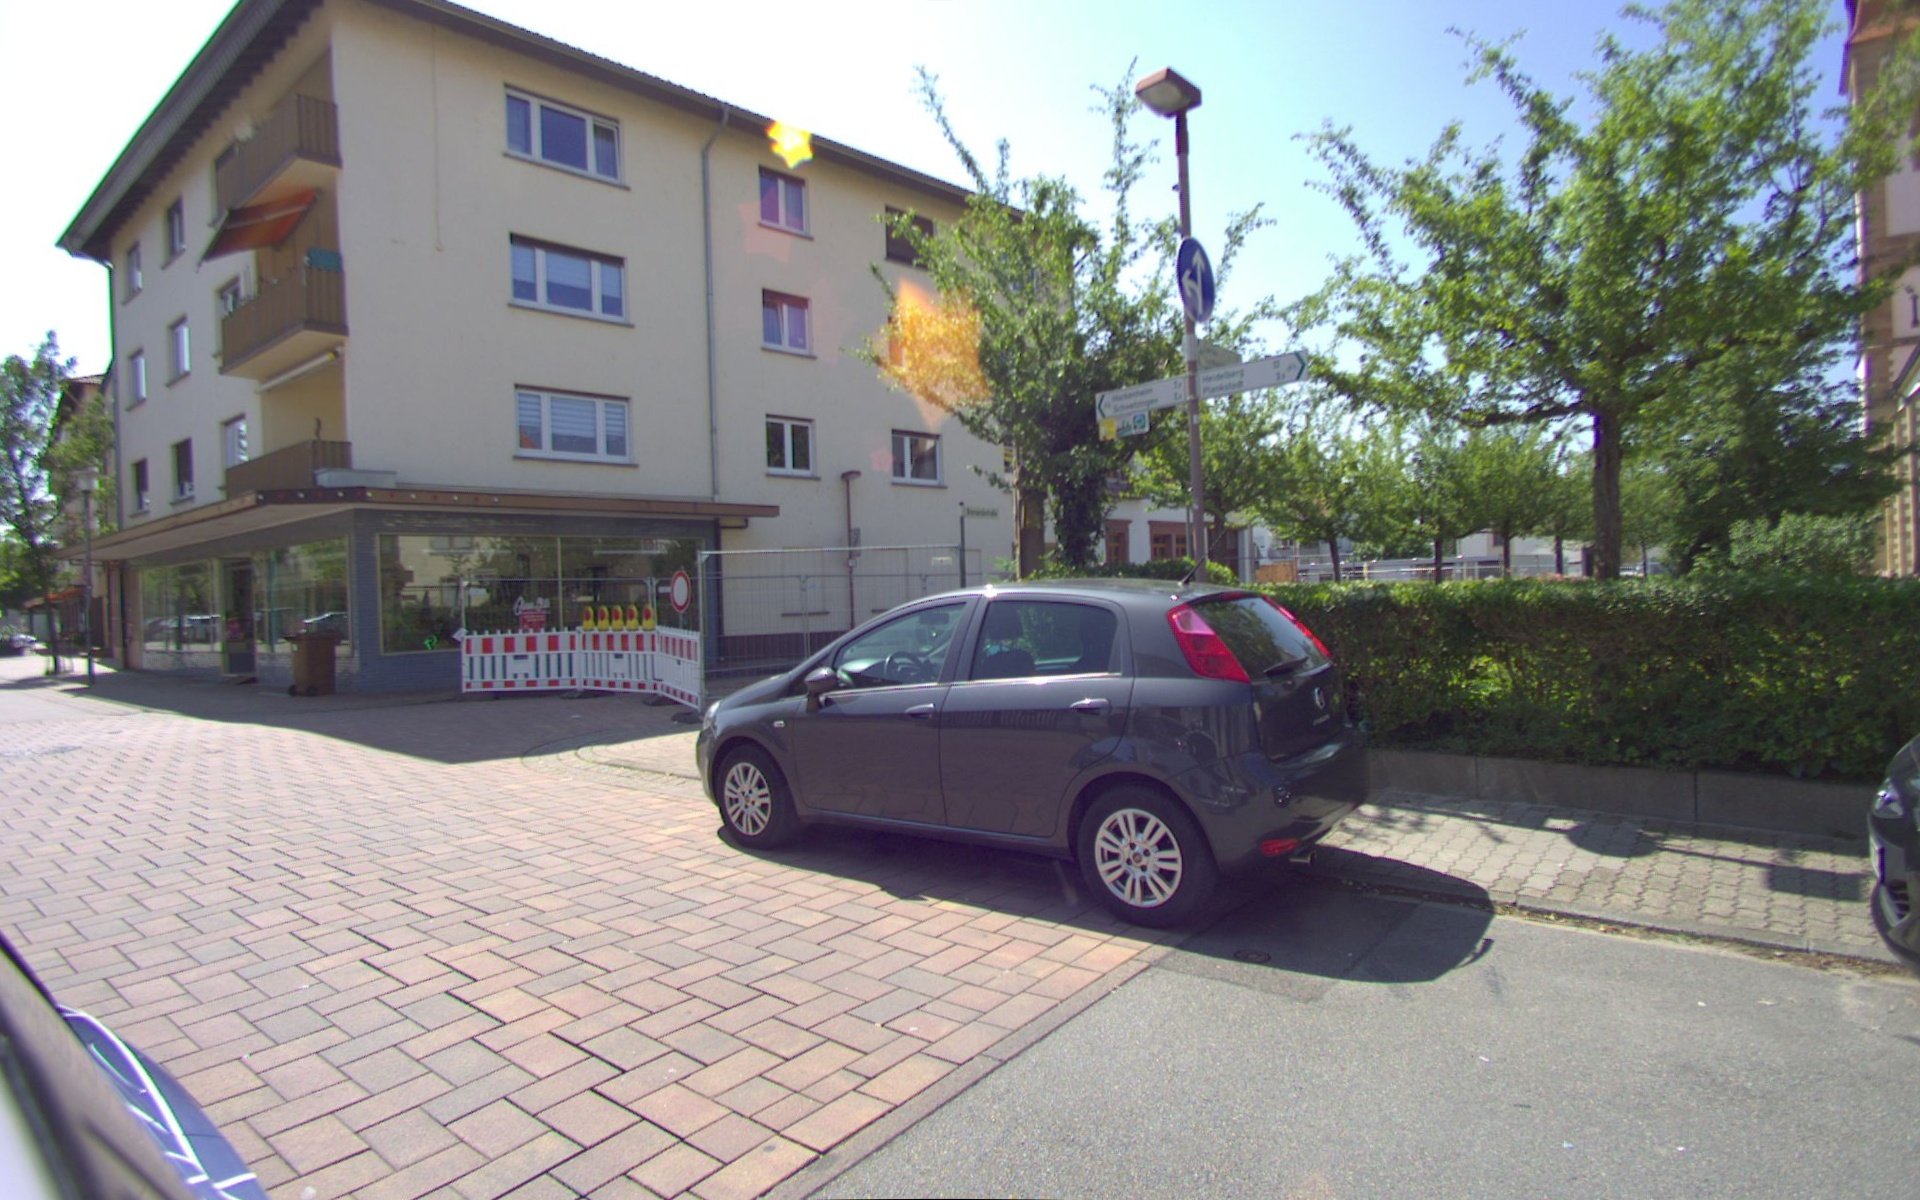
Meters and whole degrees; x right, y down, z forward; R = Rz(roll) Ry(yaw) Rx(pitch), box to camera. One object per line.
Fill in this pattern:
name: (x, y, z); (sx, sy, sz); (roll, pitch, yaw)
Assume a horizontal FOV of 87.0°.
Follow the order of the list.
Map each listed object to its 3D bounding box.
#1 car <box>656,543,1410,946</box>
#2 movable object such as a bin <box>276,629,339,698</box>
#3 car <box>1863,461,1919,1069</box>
car: (0.236, 0.570, 5.620); (3.849, 1.508, 1.687); (-2, 0, 36)
movable object such as a bin: (-10.948, 1.055, 16.979); (0.662, 1.078, 0.650); (-2, 1, 34)
car: (4.612, 0.368, 2.078); (4.022, 1.617, 1.797); (-2, 0, 41)
